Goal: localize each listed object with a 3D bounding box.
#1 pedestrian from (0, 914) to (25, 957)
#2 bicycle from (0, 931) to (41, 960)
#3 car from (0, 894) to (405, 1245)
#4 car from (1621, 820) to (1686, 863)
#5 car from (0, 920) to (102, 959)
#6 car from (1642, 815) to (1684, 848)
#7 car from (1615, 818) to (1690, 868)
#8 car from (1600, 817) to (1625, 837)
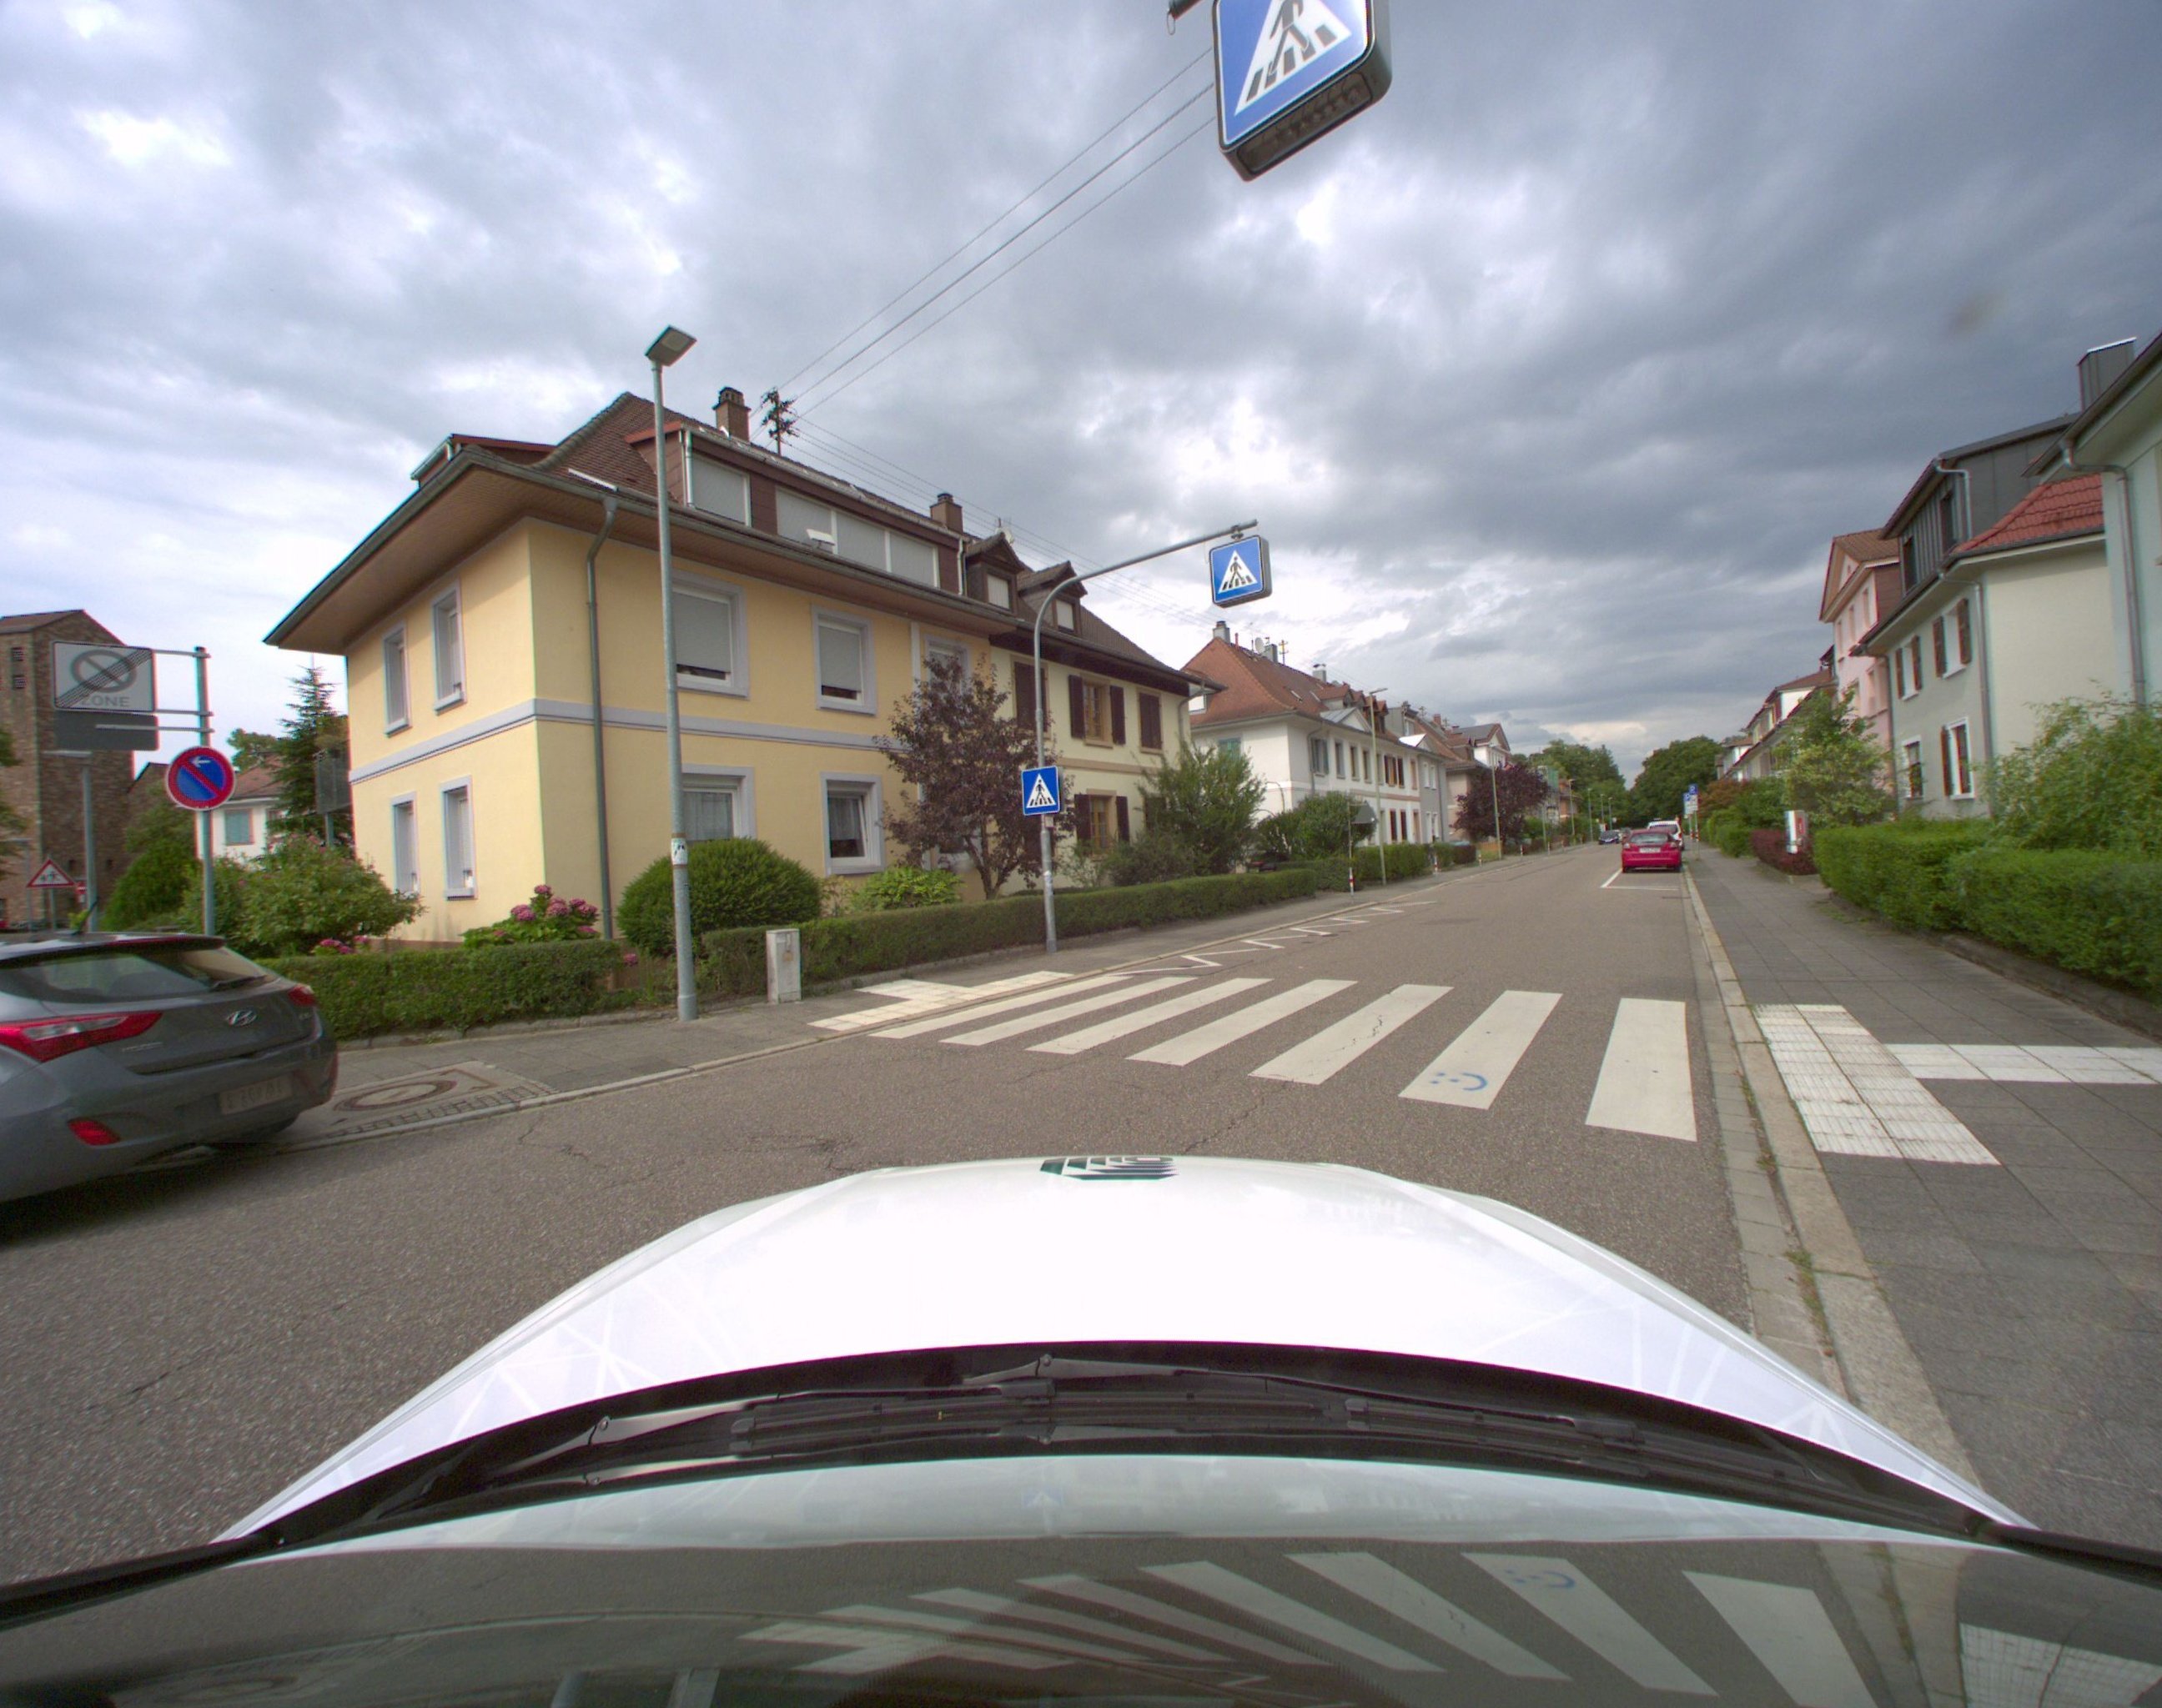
[{"bbox_3d":[-47.089,3.570,35.629,0.616,1.817,0.934,-4,-1,24],"label":"pedestrian"},{"bbox_3d":[-47.066,4.058,35.602,0.448,1.130,1.907,-4,0,25],"label":"bicycle"},{"bbox_3d":[-6.528,1.125,4.348,4.027,1.481,1.849,-4,0,-9],"label":"car"},{"bbox_3d":[23.396,-0.535,33.241,1.974,1.574,4.026,-4,0,36],"label":"car"},{"bbox_3d":[-49.346,4.061,38.196,1.662,1.464,4.255,-2,1,36],"label":"car"},{"bbox_3d":[37.063,-1.435,51.838,1.974,1.903,4.026,-4,0,36],"label":"car"},{"bbox_3d":[20.330,-0.423,28.970,1.974,1.574,4.026,-4,0,36],"label":"car"},{"bbox_3d":[56.919,-2.925,87.156,1.974,2.013,4.026,-4,0,36],"label":"car"}]
